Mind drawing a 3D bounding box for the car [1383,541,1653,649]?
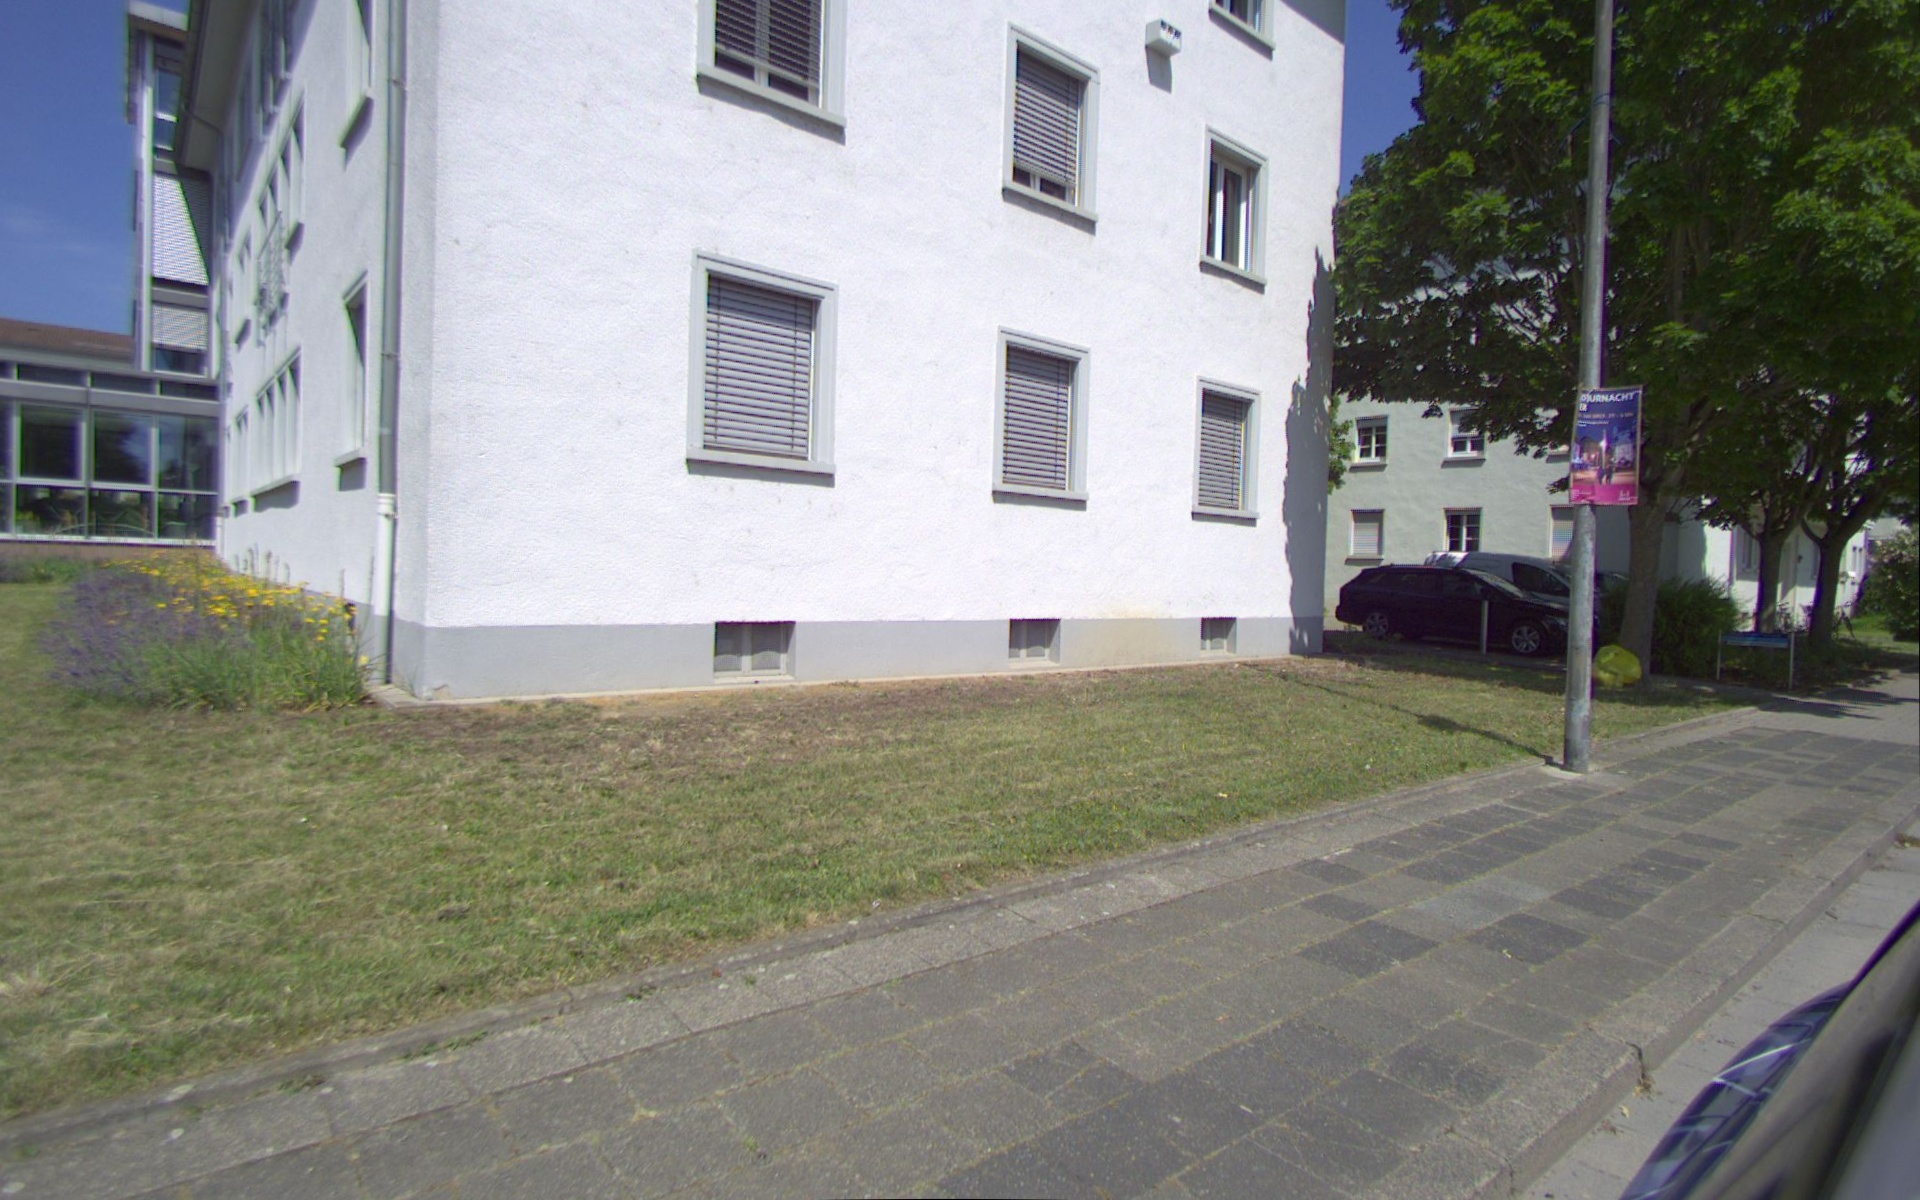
[{"bbox_3d":[11.298,-0.184,20.729,1.965,1.808,4.365,0,4,-41],"label":"car"}]

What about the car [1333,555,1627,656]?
[{"bbox_3d":[9.483,0.021,18.740,1.965,1.452,4.365,0,4,-41],"label":"car"}]

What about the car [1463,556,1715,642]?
[{"bbox_3d":[14.028,-0.090,22.772,1.965,1.544,4.365,0,4,-41],"label":"car"}]

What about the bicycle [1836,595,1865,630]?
[{"bbox_3d":[27.589,0.378,31.360,1.495,1.069,0.407,0,2,-40],"label":"bicycle"}]
